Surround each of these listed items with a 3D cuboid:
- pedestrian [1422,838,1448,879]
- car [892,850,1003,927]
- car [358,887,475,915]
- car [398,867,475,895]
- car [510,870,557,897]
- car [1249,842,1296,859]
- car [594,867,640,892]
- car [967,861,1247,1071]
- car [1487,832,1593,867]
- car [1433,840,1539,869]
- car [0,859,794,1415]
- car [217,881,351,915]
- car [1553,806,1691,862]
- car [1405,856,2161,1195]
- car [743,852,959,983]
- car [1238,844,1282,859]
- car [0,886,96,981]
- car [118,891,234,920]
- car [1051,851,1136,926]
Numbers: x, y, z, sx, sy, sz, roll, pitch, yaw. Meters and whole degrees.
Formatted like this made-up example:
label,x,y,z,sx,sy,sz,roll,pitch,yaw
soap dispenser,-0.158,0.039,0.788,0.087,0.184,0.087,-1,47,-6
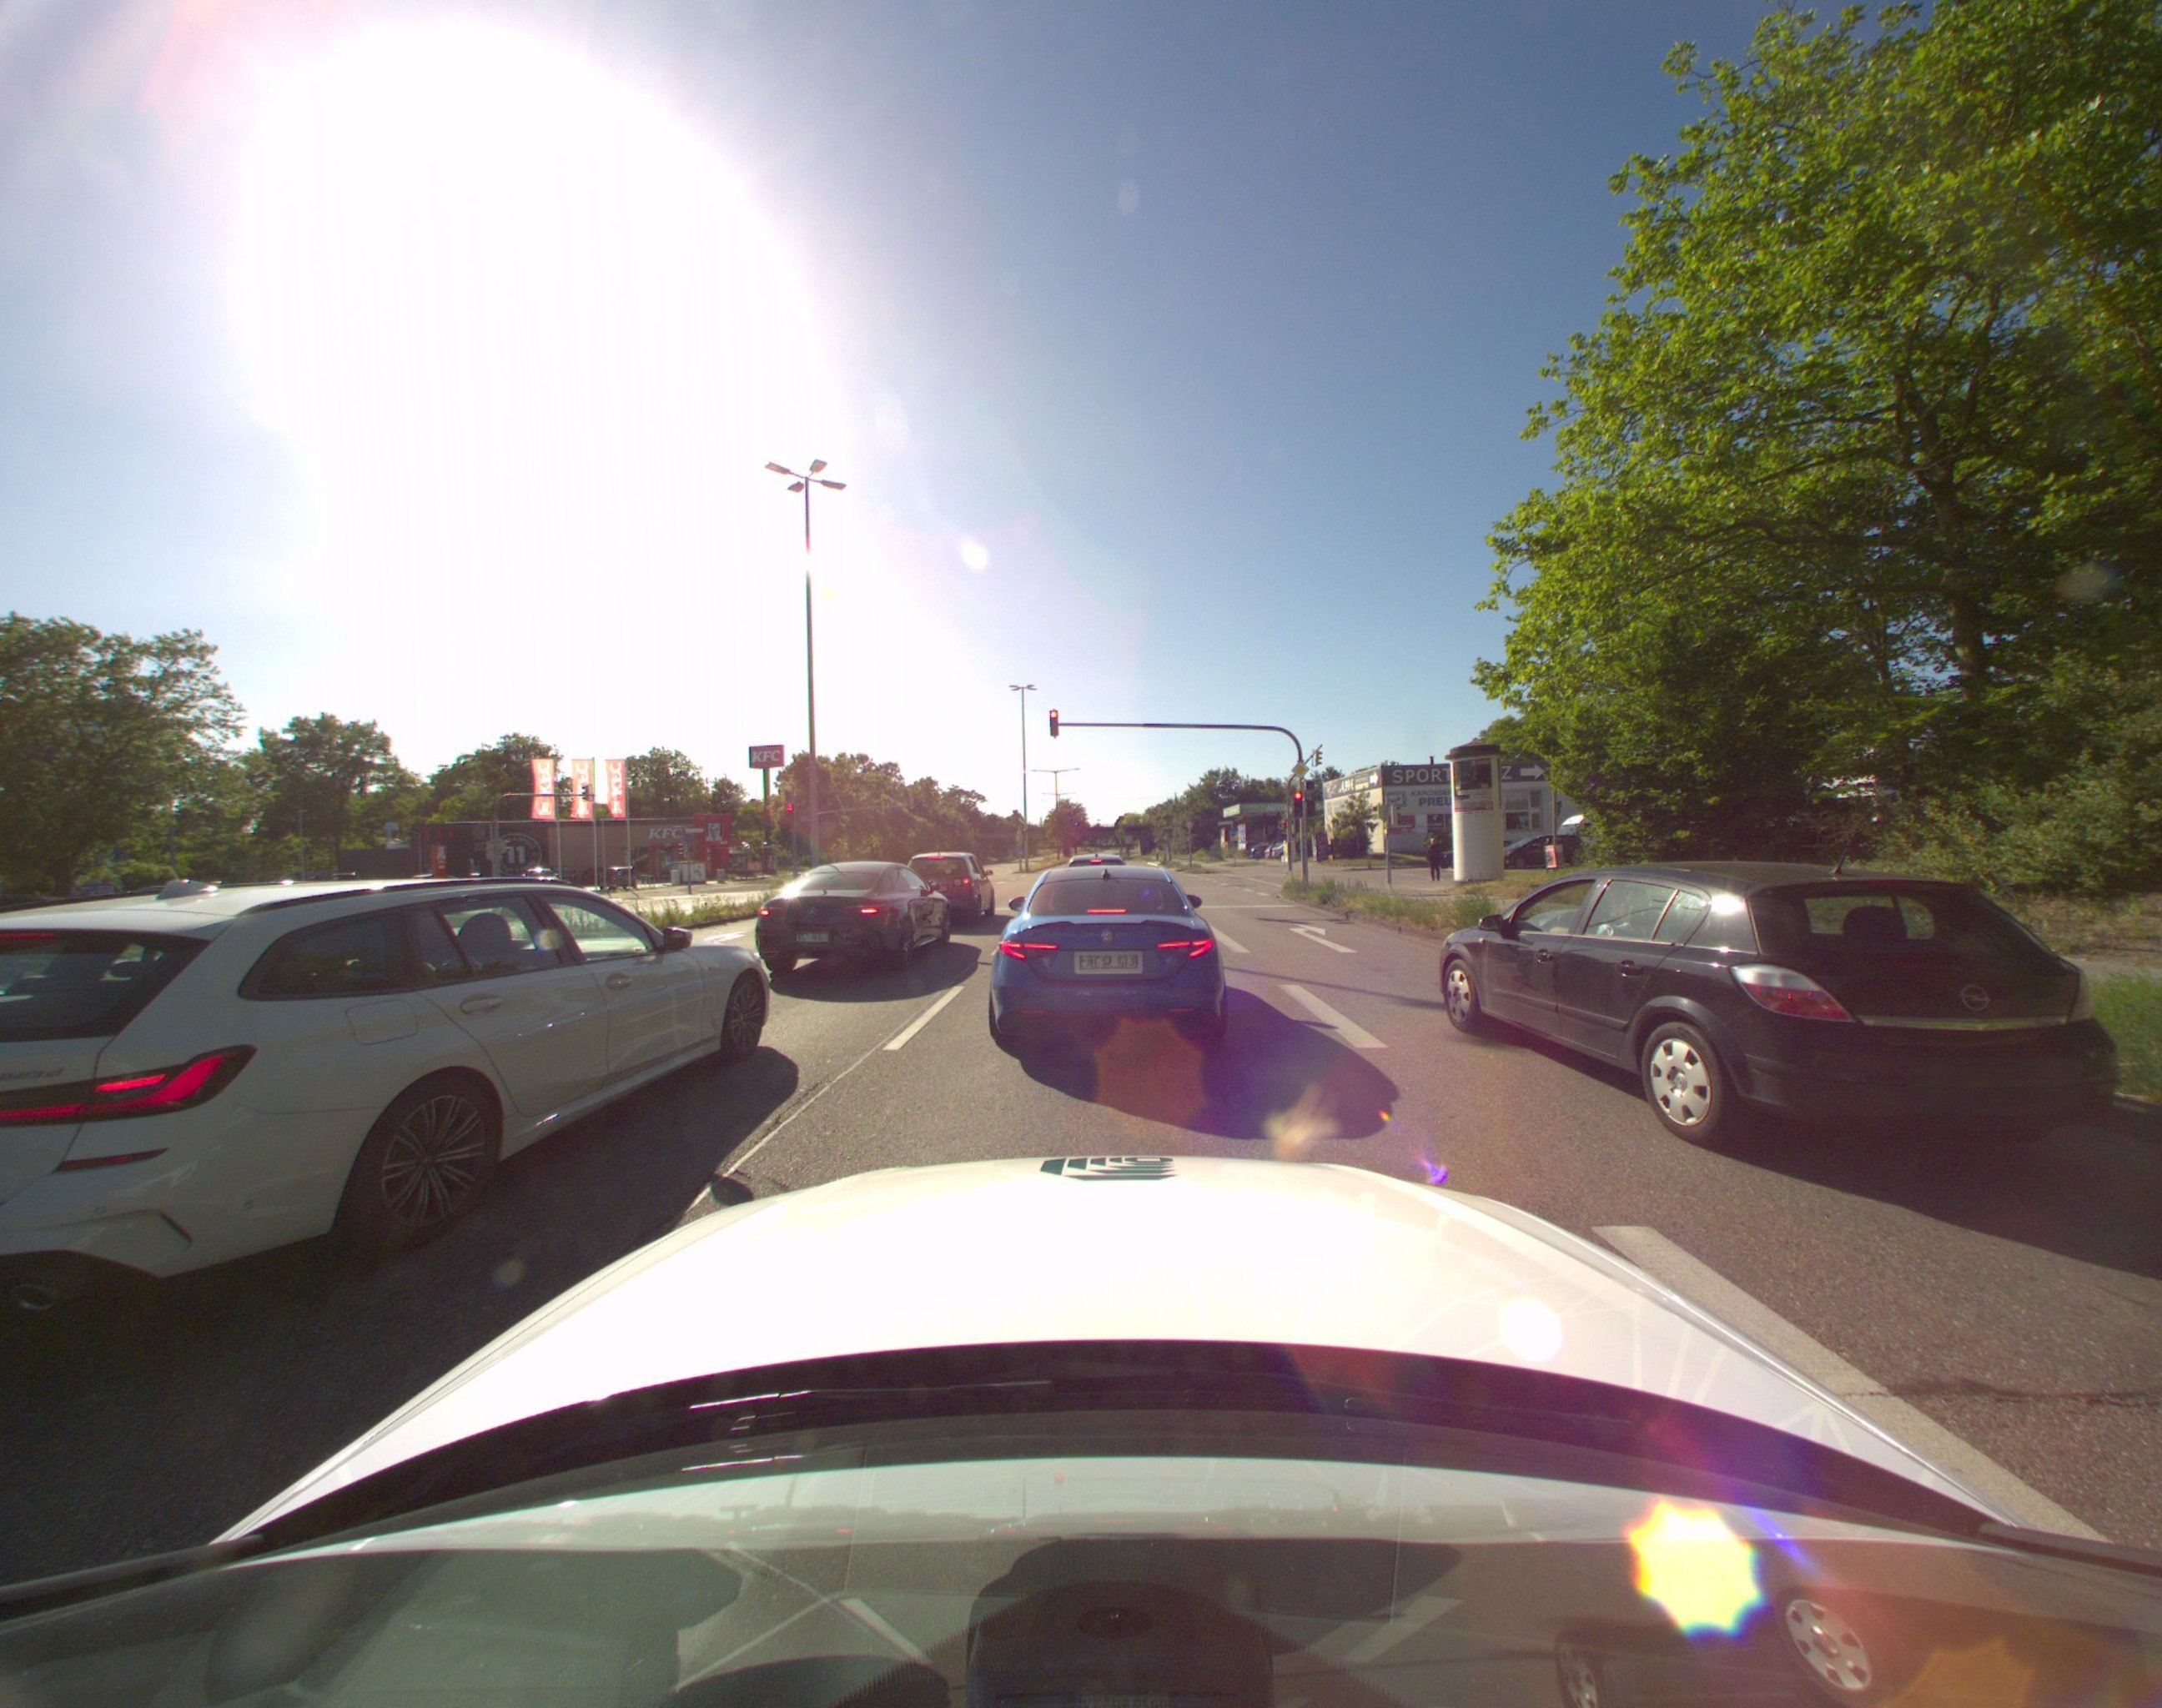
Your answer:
label,x,y,z,sx,sy,sz,roll,pitch,yaw
pedestrian,14.278,0.185,32.843,0.814,1.669,0.514,0,-1,1
car,-2.935,0.726,18.818,1.806,1.551,4.353,0,-1,0
car,-32.092,2.268,39.431,4.070,1.252,1.871,0,-1,0
car,-44.957,1.857,56.899,1.974,1.813,3.796,-1,-1,35
car,-37.435,1.963,55.624,1.946,1.740,4.046,0,-1,-45
car,17.733,-0.325,75.641,3.971,1.552,2.001,0,-1,2
car,-33.805,1.810,59.251,1.946,1.740,4.046,0,-1,-45
car,0.288,0.781,7.426,1.901,1.423,3.722,0,-1,3
car,22.471,-0.197,39.966,4.291,1.650,1.638,0,-1,1
car,21.502,0.023,43.366,4.803,1.468,1.758,0,-1,0
car,-3.423,0.805,4.556,1.805,1.486,4.599,-1,0,2
car,-39.005,2.135,39.921,4.608,1.579,1.936,0,-1,0
car,28.678,-1.021,43.317,5.812,2.672,2.001,-3,-1,2
car,3.930,0.739,5.667,1.727,1.442,4.373,0,0,2
car,-3.105,0.757,12.059,1.805,1.551,4.544,-1,0,1
car,18.496,-0.256,84.394,3.995,1.552,1.989,0,-1,-16
car,-21.736,1.566,14.920,1.787,1.726,4.345,-1,0,22
car,-48.036,2.723,43.291,3.941,1.453,1.936,0,-1,0
car,0.365,0.712,18.253,1.696,1.497,3.722,0,-1,3
